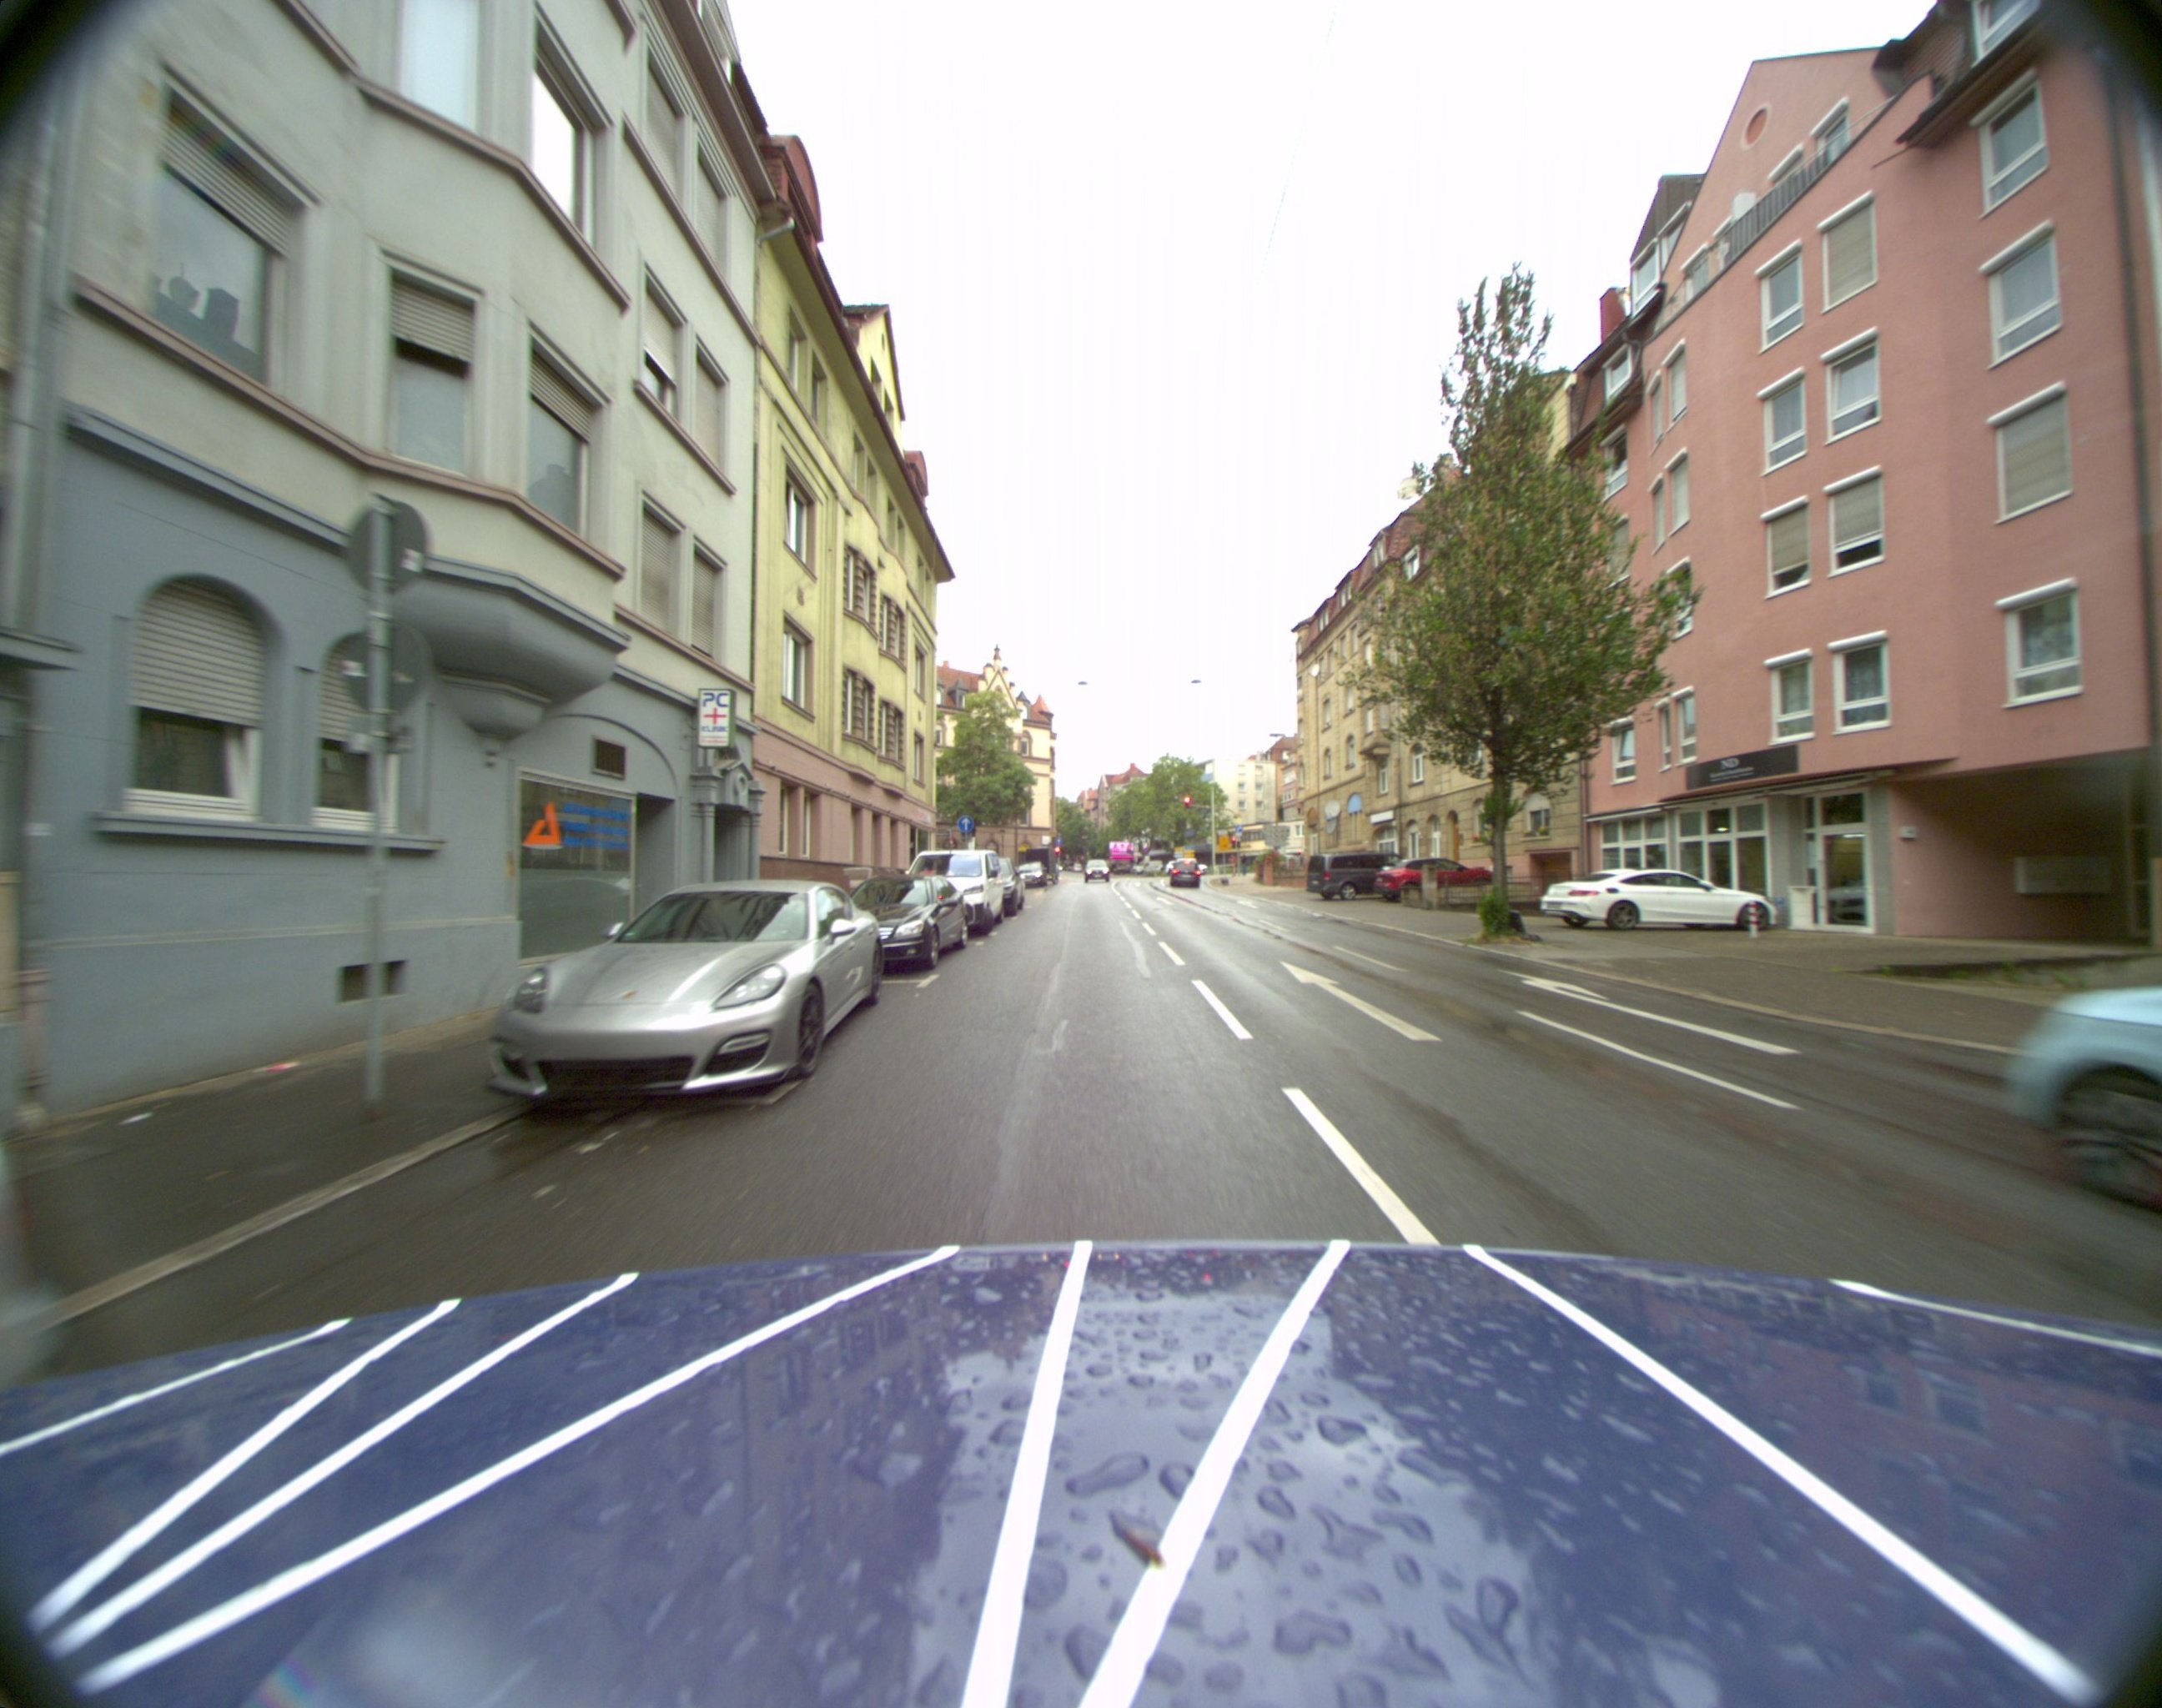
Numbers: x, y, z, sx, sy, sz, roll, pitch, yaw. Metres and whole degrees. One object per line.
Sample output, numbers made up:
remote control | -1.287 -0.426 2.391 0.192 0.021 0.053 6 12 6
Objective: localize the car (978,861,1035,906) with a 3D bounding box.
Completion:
car | -2.909 1.118 30.442 1.803 1.555 4.492 -2 0 0

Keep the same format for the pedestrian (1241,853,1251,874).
pedestrian | 13.151 0.763 60.587 0.638 1.692 0.829 -2 0 3

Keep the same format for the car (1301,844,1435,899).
car | 11.544 0.687 30.704 4.690 1.927 1.862 -2 0 -9

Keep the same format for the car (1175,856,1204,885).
car | 6.780 1.006 47.810 1.624 1.639 4.422 2 0 7

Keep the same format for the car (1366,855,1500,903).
car | 13.128 0.913 28.530 4.107 1.581 1.897 -2 1 0

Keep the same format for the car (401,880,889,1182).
car | -3.043 1.074 6.697 1.881 1.458 4.772 -2 0 -5

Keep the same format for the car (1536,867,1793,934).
car | 13.327 1.041 17.558 4.559 1.393 1.768 1 0 0

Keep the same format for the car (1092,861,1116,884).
car | 1.605 1.301 54.173 1.648 1.594 3.667 0 0 1

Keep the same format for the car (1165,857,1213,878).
car | 11.051 1.399 78.050 4.443 2.002 1.920 -2 0 37

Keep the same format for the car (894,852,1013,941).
car | -2.862 0.873 18.172 1.924 1.816 5.009 1 0 1

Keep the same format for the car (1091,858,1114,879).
car | 1.643 1.112 58.894 1.648 1.594 3.809 0 0 0

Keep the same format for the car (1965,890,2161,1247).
car | 5.476 0.972 2.104 1.640 1.499 3.754 2 0 1

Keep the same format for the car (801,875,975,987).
car | -2.930 1.107 12.480 1.681 1.367 4.276 -1 0 1

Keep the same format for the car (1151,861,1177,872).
car | 12.748 1.904 116.976 3.711 1.407 1.808 -2 1 -33

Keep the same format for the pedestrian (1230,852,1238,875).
pedestrian | 11.930 0.738 59.225 0.523 1.763 0.694 -2 0 7

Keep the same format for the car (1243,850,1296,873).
car | 18.133 0.731 73.121 4.508 2.002 1.915 -2 0 -4

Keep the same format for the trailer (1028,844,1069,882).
trailer | -2.320 0.644 55.207 1.936 2.621 4.688 0 0 10

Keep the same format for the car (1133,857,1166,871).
car | 11.011 1.586 121.772 4.983 1.966 1.876 -2 1 -28

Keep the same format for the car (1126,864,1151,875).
car | 9.591 2.631 126.650 3.841 1.679 1.802 -1 1 -27

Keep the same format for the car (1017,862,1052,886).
car | -2.946 1.253 48.857 1.862 1.503 3.683 0 0 3

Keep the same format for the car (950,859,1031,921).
car | -2.713 1.025 23.812 1.883 1.721 4.677 1 0 1
